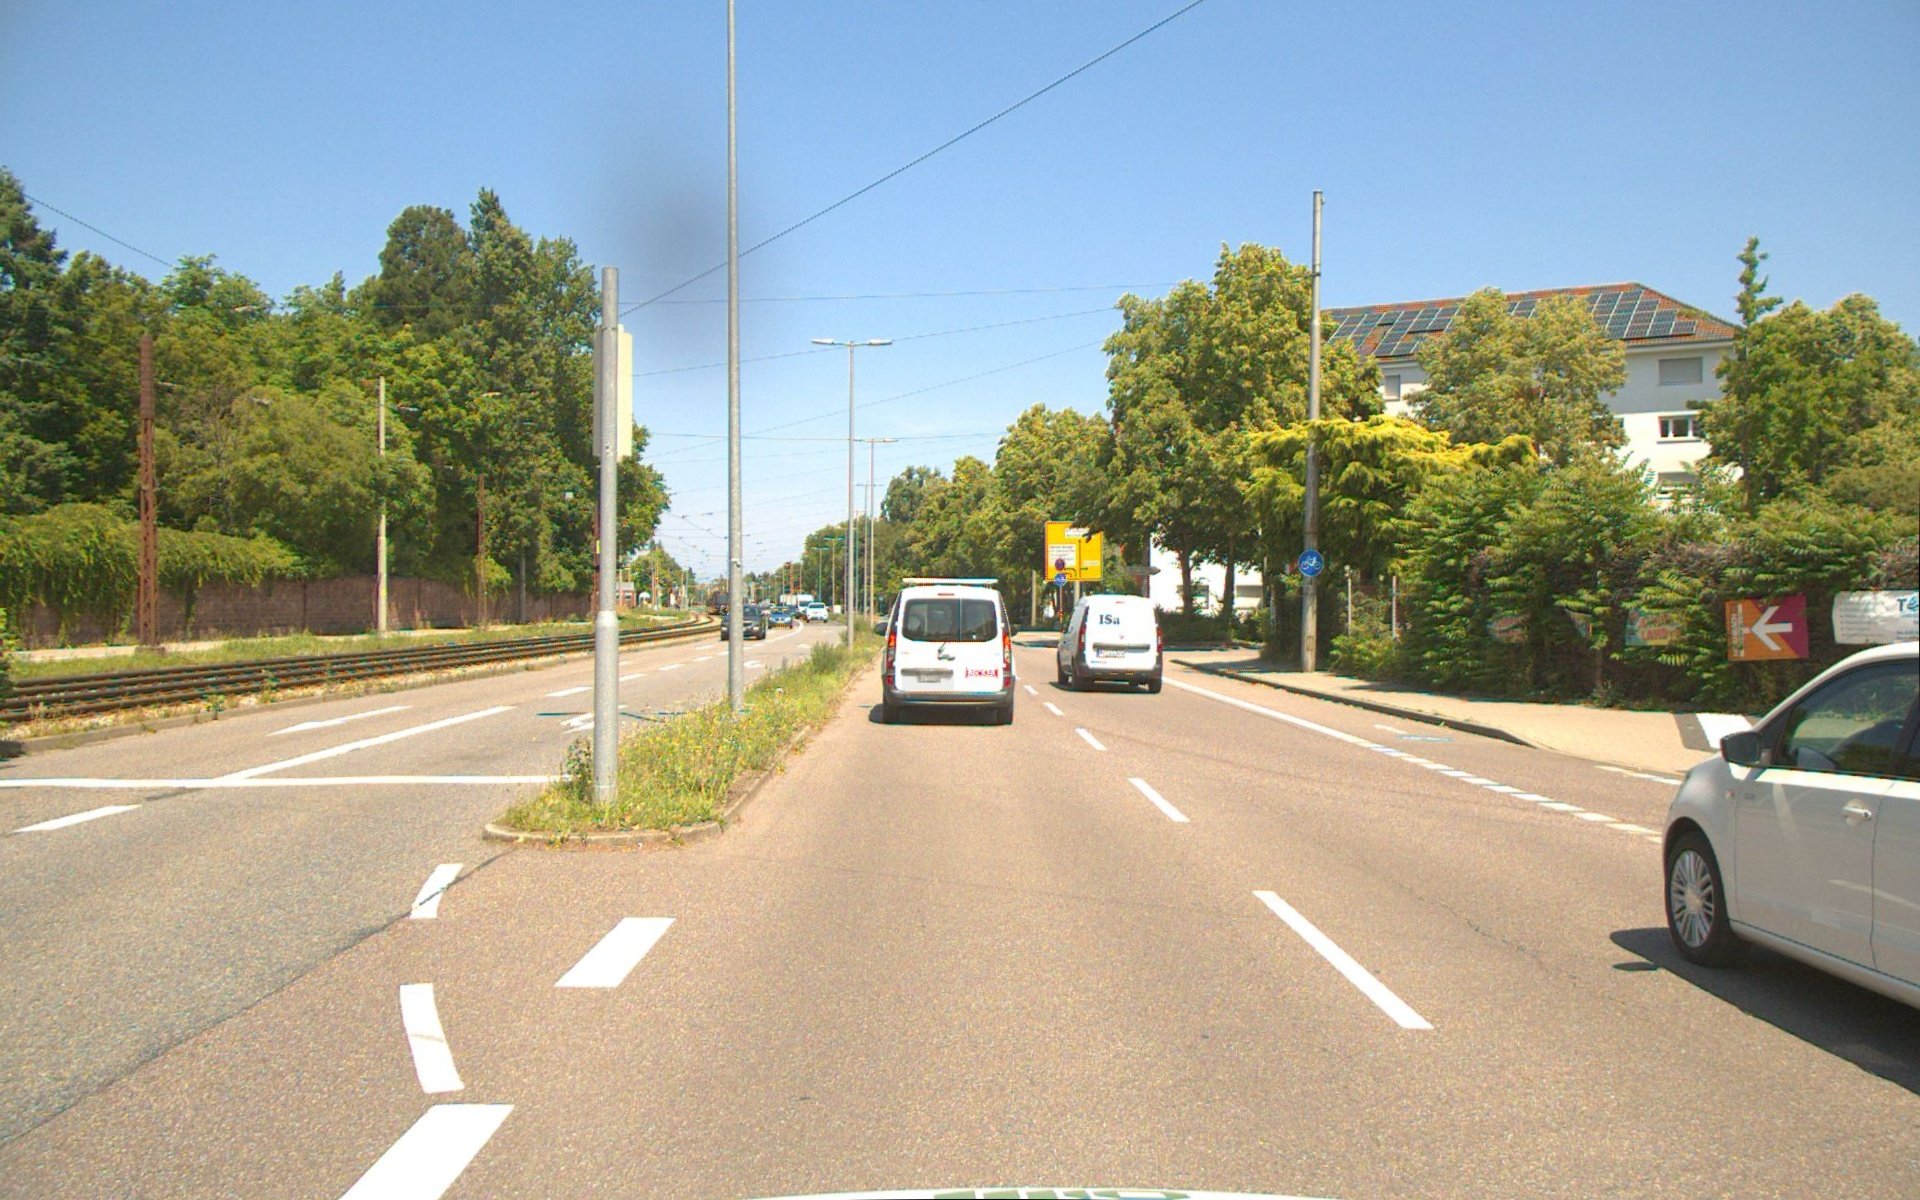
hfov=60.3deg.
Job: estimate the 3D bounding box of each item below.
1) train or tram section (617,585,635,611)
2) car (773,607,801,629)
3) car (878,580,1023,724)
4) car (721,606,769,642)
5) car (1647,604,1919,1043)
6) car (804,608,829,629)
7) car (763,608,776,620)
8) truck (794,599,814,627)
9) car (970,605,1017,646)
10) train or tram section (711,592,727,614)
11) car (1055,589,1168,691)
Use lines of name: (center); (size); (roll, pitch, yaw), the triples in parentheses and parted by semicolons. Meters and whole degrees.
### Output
train or tram section: (-49.945, -0.228, 247.629); (1.957, 3.585, 16.128); (2, -1, -10)
car: (-11.587, 1.214, 110.986); (1.663, 1.464, 3.997); (0, 0, -3)
car: (-0.133, 0.659, 23.022); (1.784, 1.770, 4.395); (2, 0, -1)
car: (-9.518, 1.024, 73.404); (1.663, 1.539, 4.065); (0, 0, -1)
car: (4.057, 0.790, 6.061); (1.577, 1.473, 3.435); (2, 0, -1)
car: (-12.983, 1.654, 149.885); (1.953, 1.847, 3.999); (0, 0, -2)
car: (-27.204, 2.010, 235.761); (1.713, 1.594, 3.995); (2, -1, -6)
truck: (-18.518, 1.504, 196.207); (1.953, 3.270, 5.310); (0, 0, -2)
car: (1.397, 1.054, 70.267); (1.797, 1.596, 3.999); (2, 0, -1)
train or tram section: (-36.369, 0.491, 249.130); (1.957, 3.140, 16.128); (2, -1, -10)
car: (2.905, 0.751, 32.399); (1.693, 1.819, 4.063); (2, -1, -1)
